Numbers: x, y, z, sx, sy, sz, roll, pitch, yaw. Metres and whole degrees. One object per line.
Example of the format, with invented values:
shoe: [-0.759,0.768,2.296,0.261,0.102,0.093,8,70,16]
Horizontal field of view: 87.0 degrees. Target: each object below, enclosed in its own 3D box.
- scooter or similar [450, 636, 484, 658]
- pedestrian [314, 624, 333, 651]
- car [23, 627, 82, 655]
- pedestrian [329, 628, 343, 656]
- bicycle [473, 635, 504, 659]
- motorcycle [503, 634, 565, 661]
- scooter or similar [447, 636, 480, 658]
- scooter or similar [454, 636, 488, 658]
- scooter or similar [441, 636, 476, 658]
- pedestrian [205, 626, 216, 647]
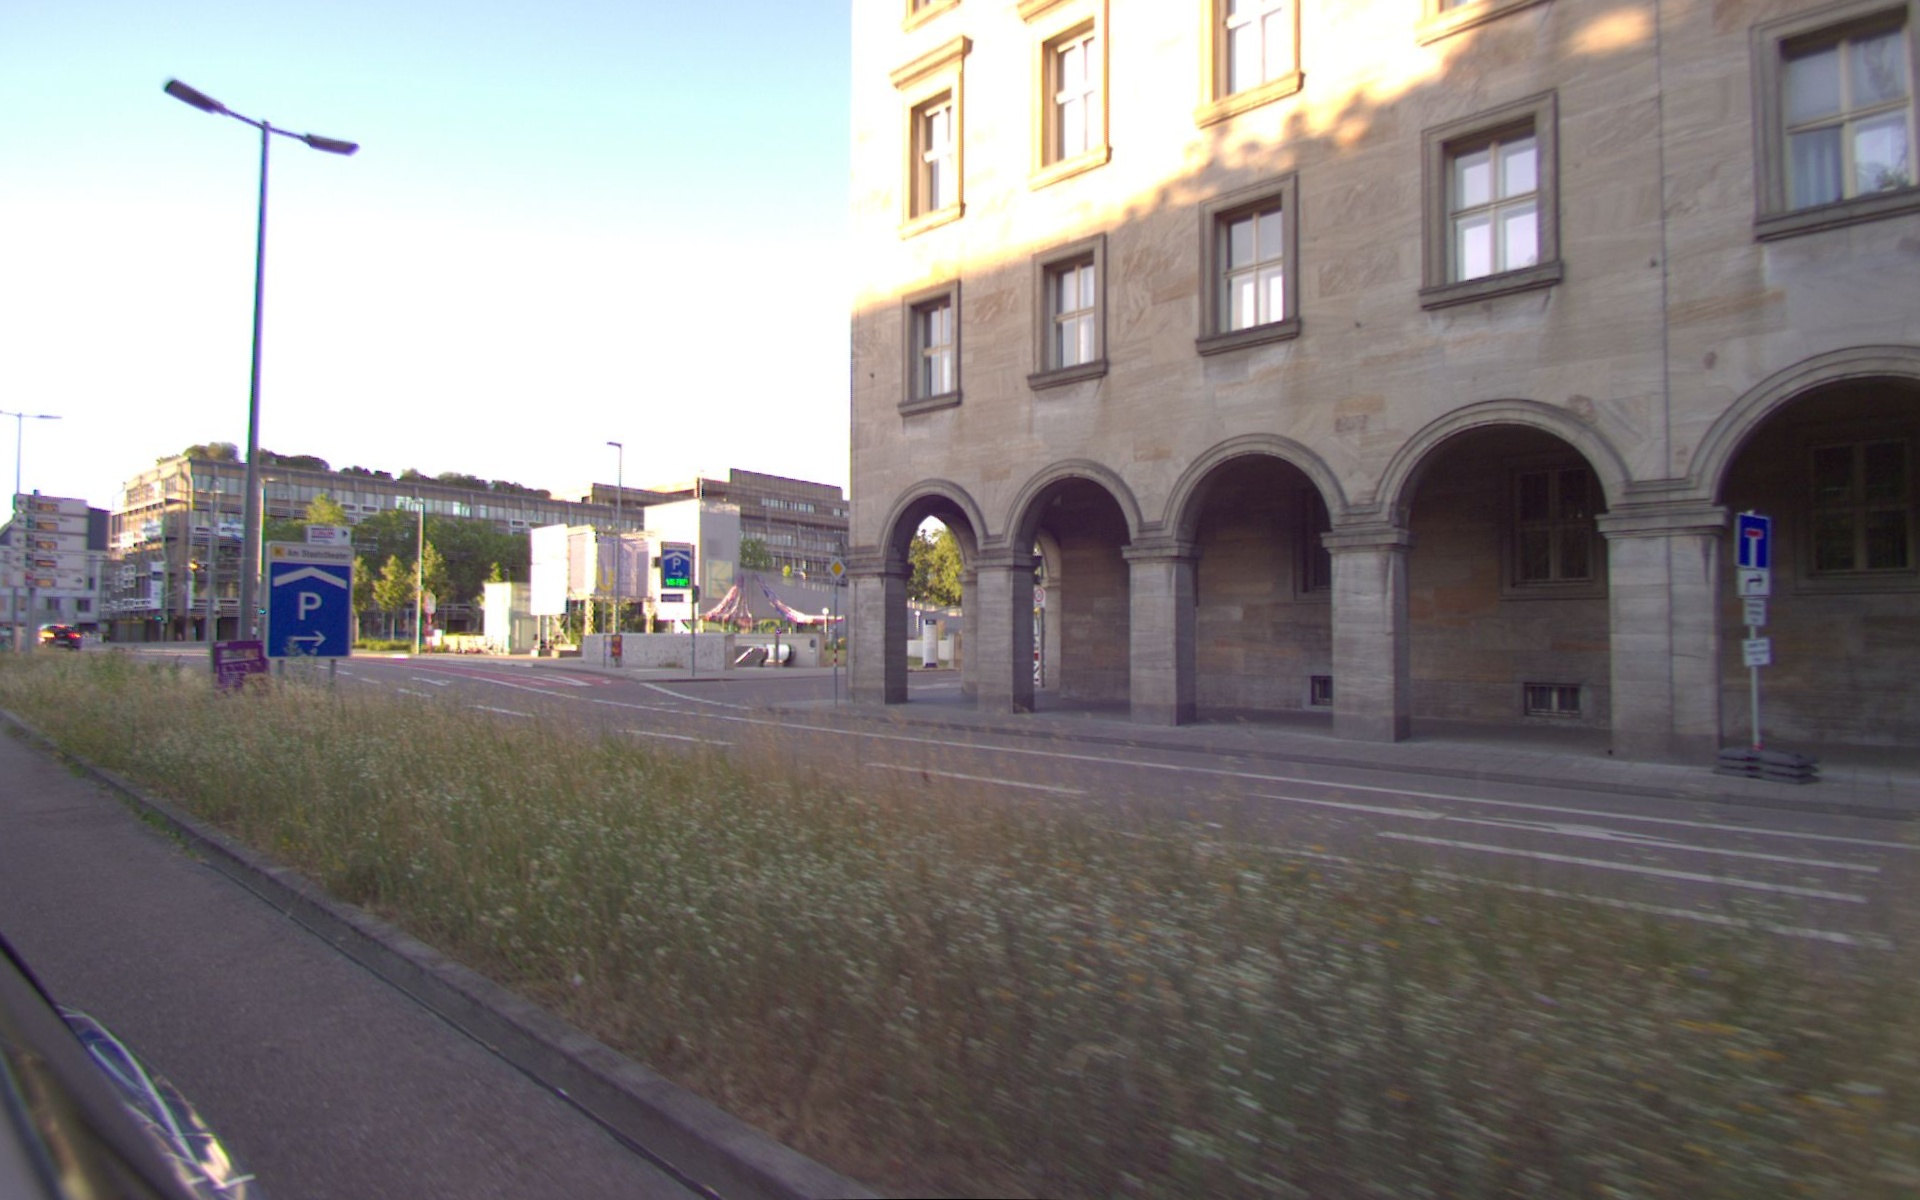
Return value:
scooter or similar: [-29.280,2.786,60.172,0.422,1.315,1.814,-1,-2,35]
pedestrian: [-43.807,2.602,69.666,0.776,1.851,0.862,-2,-3,43]
car: [-49.647,2.220,55.342,4.535,1.477,1.867,-2,-3,41]
pedestrian: [-43.392,2.947,70.356,0.648,1.948,0.652,-3,-4,43]
bicycle: [-27.332,2.705,58.692,2.507,1.334,0.611,-1,-3,40]
motorcycle: [-23.791,2.610,56.559,0.839,1.393,3.200,-1,-1,40]
scooter or similar: [-29.660,2.800,60.472,0.417,1.315,1.771,-1,-2,35]
scooter or similar: [-28.929,2.773,59.904,0.422,1.315,1.819,-1,-2,35]
scooter or similar: [-30.081,2.801,60.758,0.500,1.315,1.841,-1,-2,35]
pedestrian: [-70.140,3.430,94.690,0.680,1.946,0.636,-1,-3,39]
